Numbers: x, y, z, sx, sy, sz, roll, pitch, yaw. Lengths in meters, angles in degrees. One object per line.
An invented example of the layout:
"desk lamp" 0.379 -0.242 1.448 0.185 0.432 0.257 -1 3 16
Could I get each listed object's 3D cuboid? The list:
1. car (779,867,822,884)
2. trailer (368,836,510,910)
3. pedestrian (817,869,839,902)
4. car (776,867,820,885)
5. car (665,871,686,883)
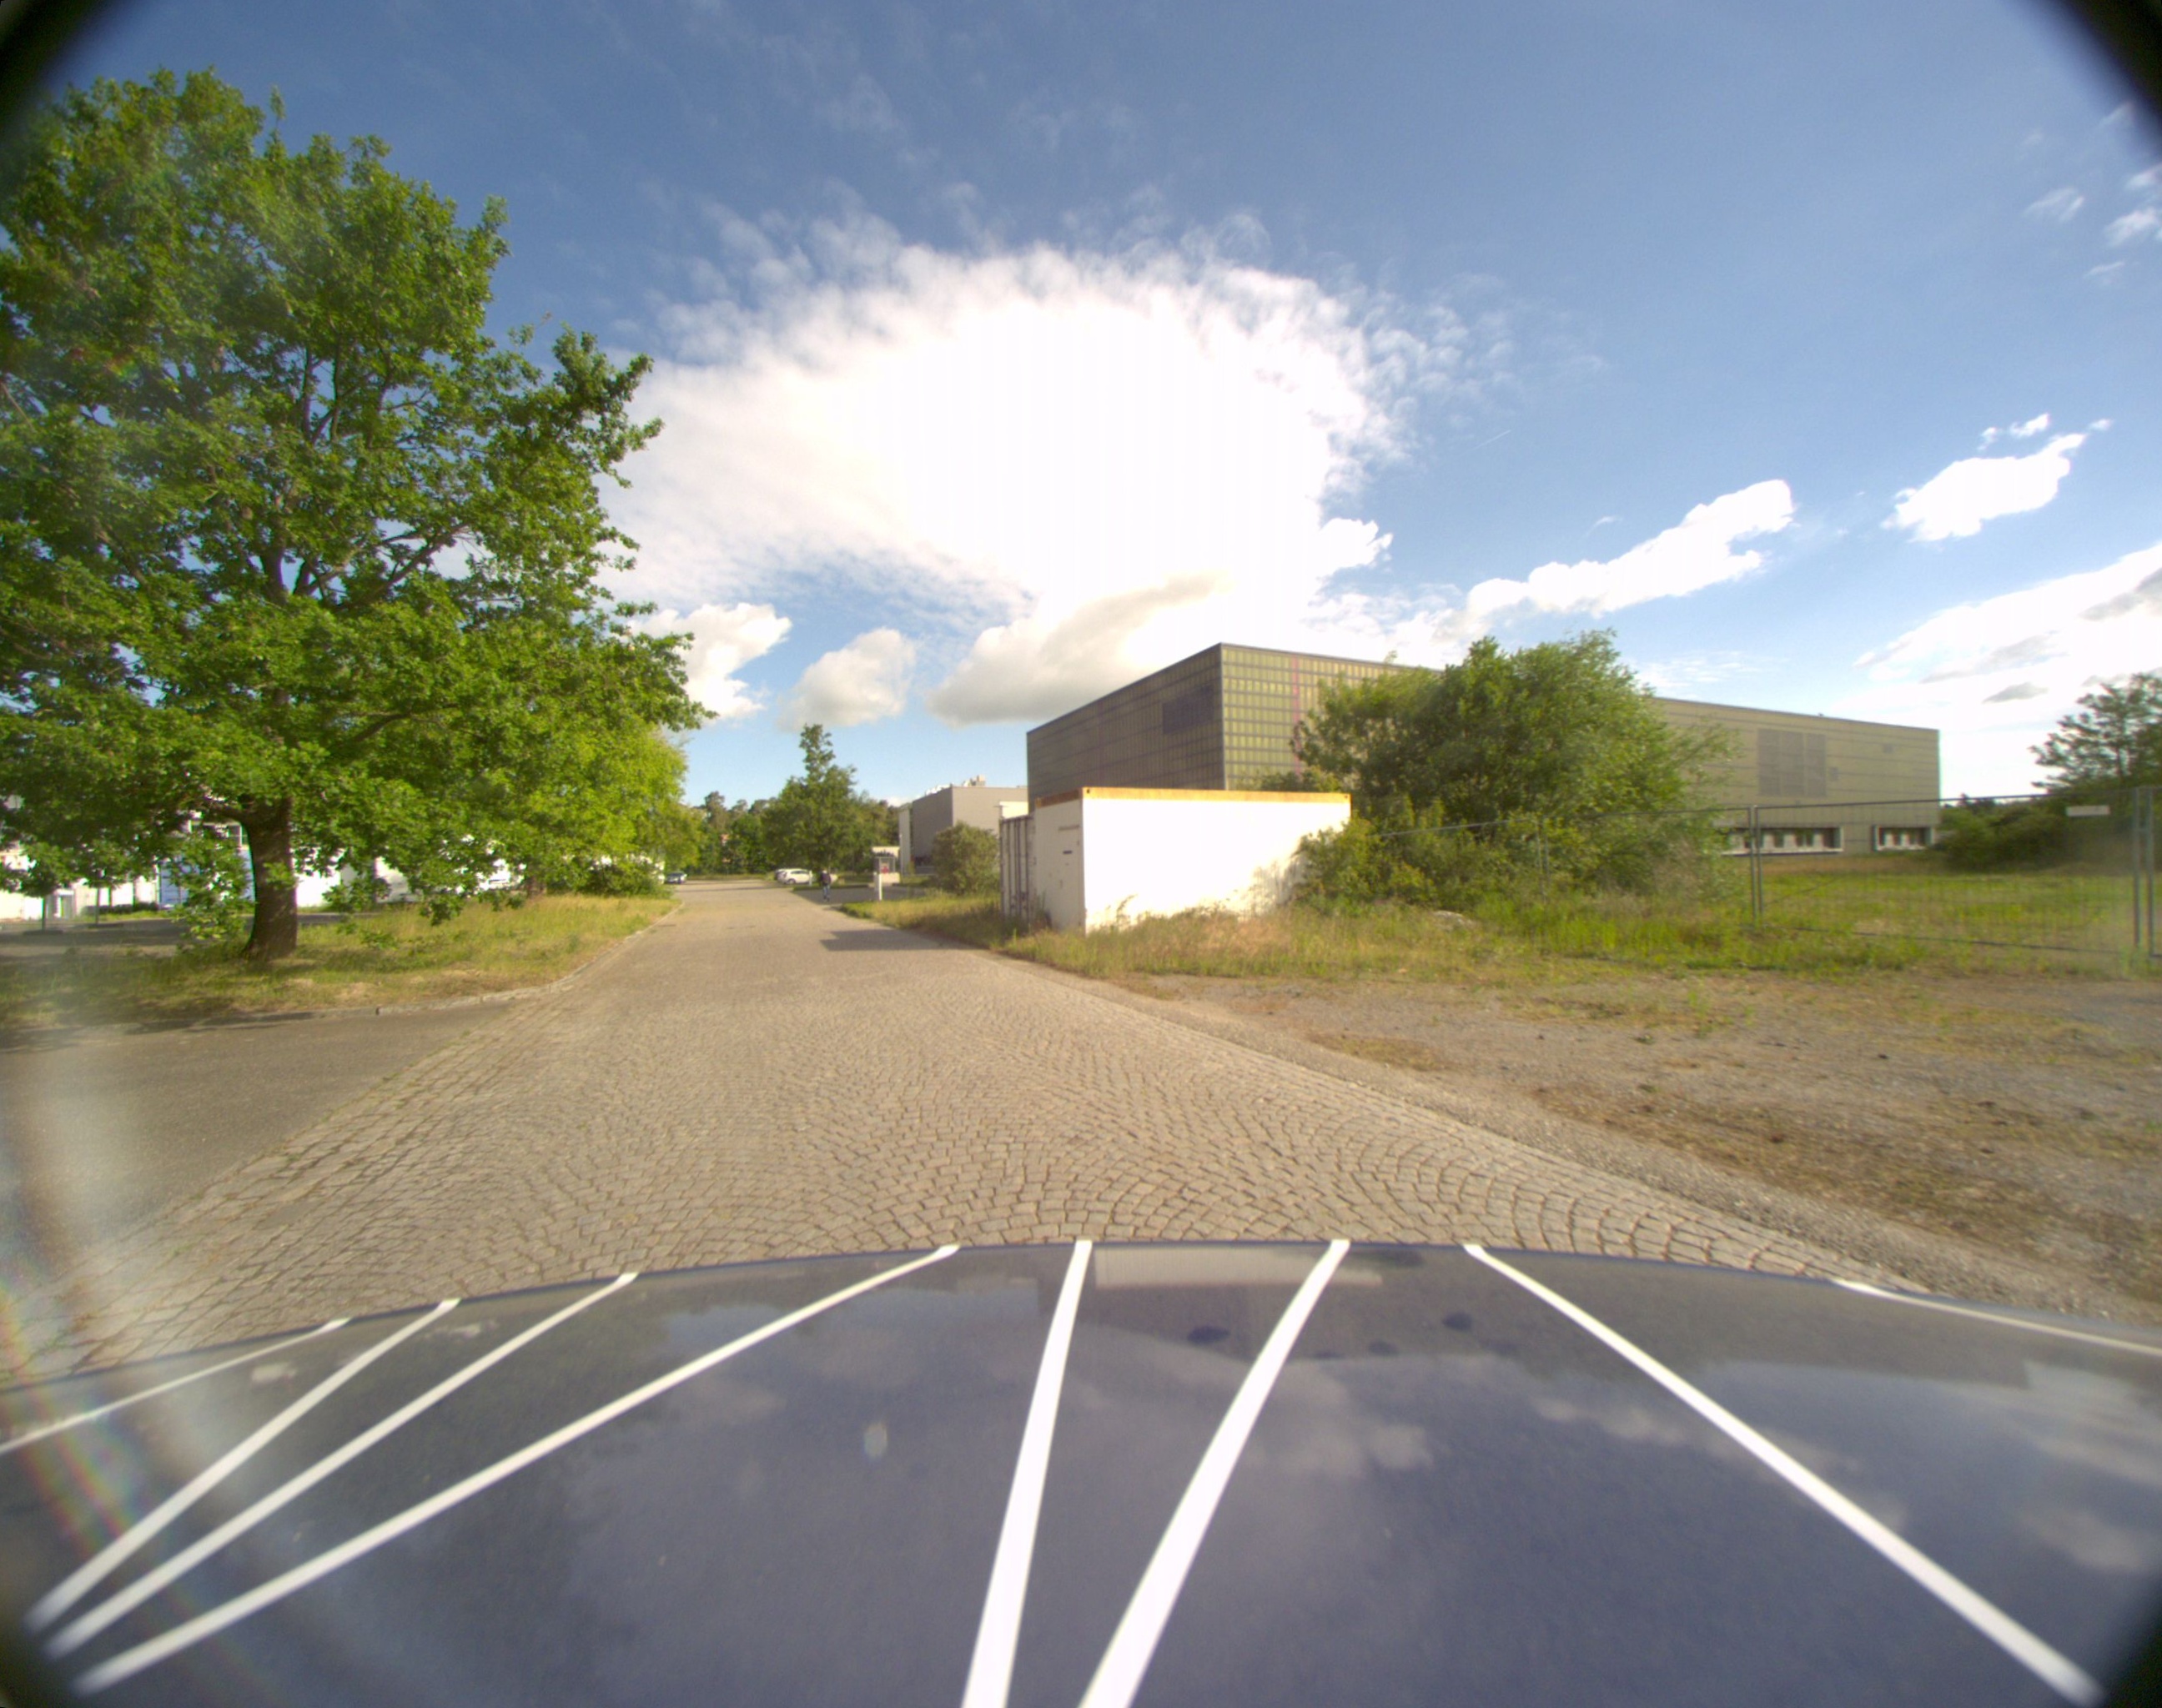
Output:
"car" -28.266 2.152 76.653 4.003 1.633 1.997 -1 0 -19
"trailer" -33.889 0.970 40.686 2.930 3.450 9.883 -1 0 -23
"pedestrian" -12.210 1.505 36.696 0.868 1.549 1.027 -1 0 -14
"car" -27.512 2.135 74.004 4.003 1.633 1.997 -1 0 -19
"car" -48.474 2.707 90.877 2.003 1.363 3.991 -1 0 -31
